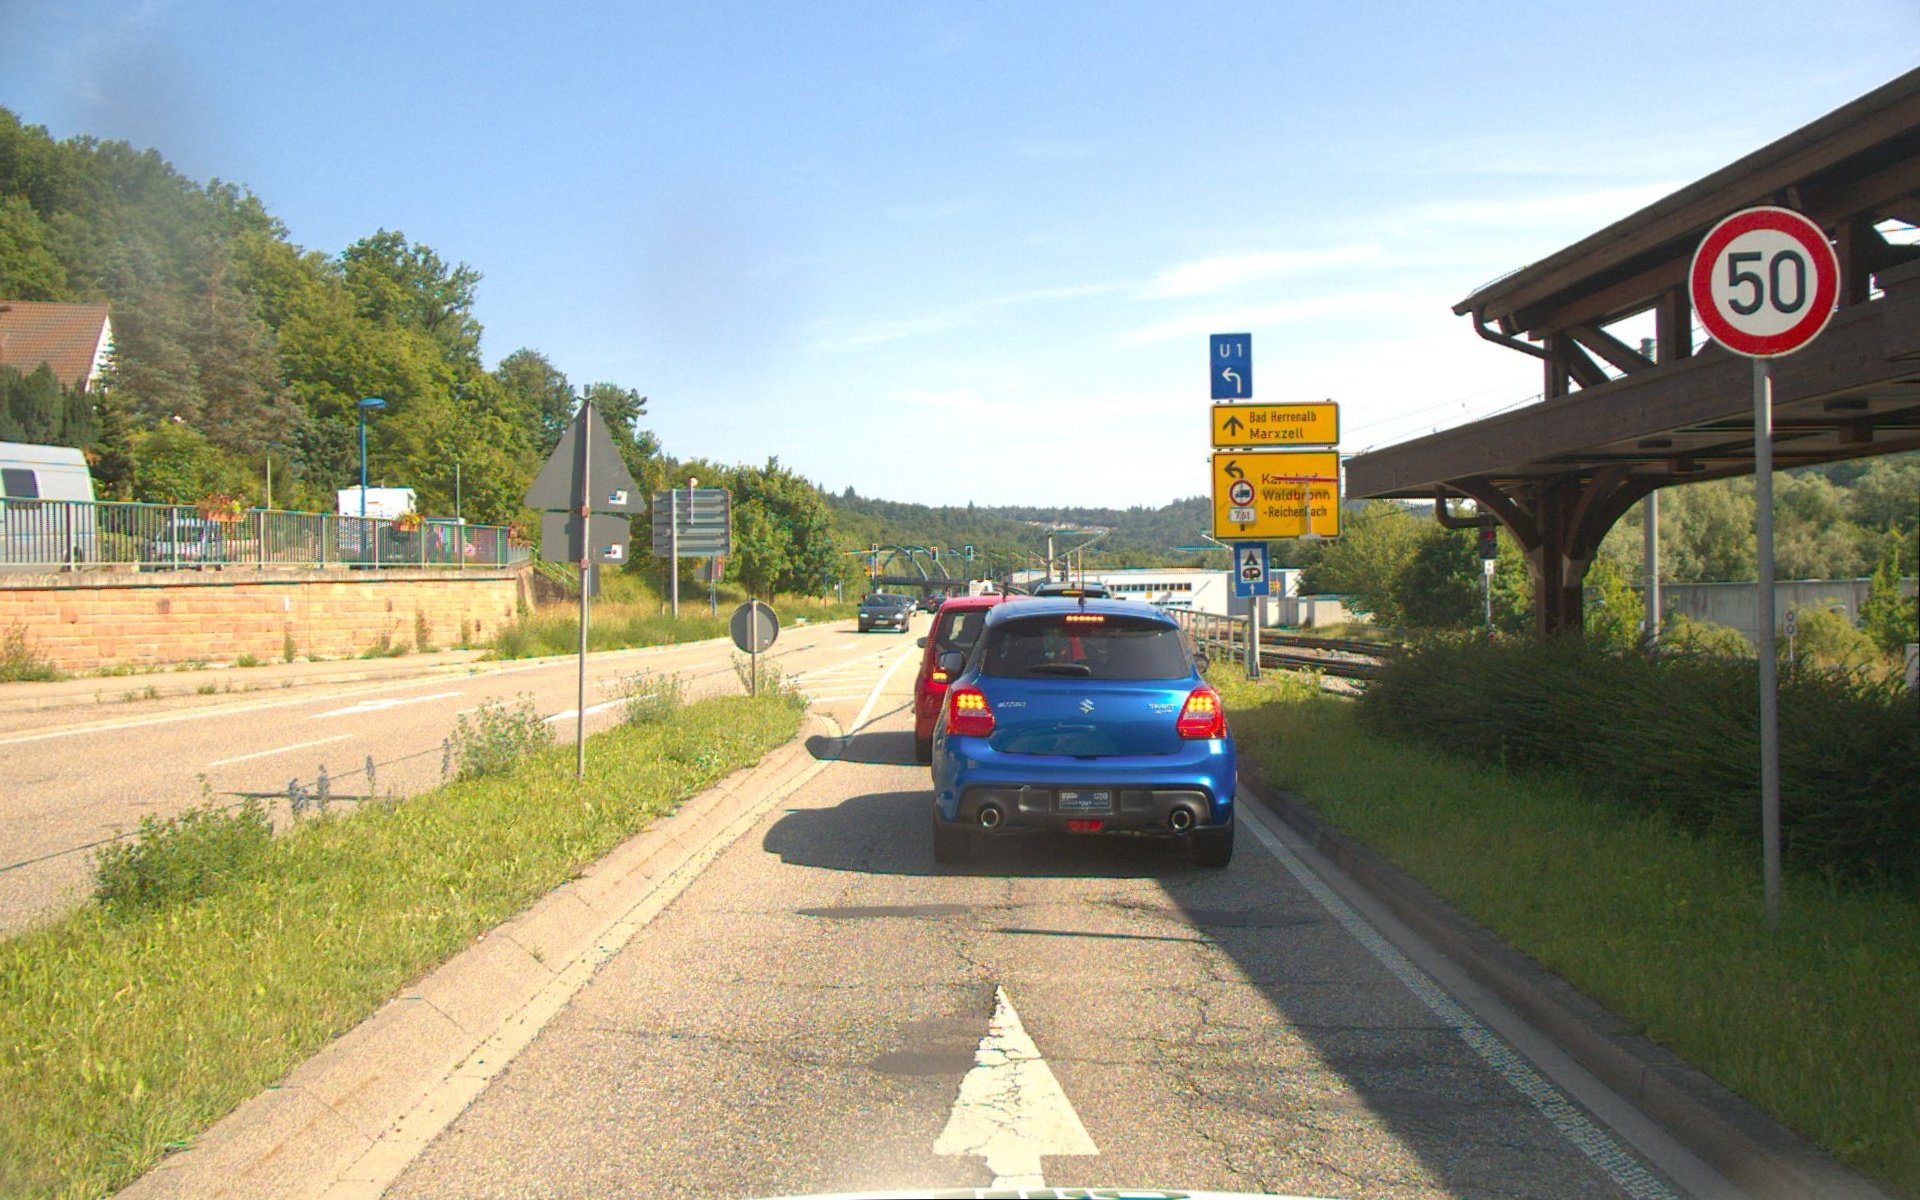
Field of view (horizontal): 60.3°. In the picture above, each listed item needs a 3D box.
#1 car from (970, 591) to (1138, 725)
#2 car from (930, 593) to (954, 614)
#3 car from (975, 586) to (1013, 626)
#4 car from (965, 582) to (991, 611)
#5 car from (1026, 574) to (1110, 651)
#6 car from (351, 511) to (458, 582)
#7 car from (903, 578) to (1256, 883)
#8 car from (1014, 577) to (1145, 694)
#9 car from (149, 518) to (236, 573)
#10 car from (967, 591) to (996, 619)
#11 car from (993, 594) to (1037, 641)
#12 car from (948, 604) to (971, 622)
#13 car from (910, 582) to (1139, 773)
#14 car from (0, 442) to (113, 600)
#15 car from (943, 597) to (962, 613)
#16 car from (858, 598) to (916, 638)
[{"bbox_3d":[1.184,0.670,21.591,1.952,1.558,4.603,0,0,2],"label":"car"},{"bbox_3d":[-1.580,0.311,143.837,1.952,1.814,4.000,2,0,1],"label":"car"},{"bbox_3d":[1.854,0.315,90.683,1.952,2.048,4.001,2,1,1],"label":"car"},{"bbox_3d":[1.412,-0.284,131.858,1.952,2.181,4.720,2,0,1],"label":"car"},{"bbox_3d":[2.660,0.290,41.509,1.952,1.766,4.001,2,0,2],"label":"car"},{"bbox_3d":[-16.568,-1.584,49.585,1.982,1.953,4.726,2,1,-6],"label":"car"},{"bbox_3d":[0.627,0.677,10.657,1.830,1.575,4.000,1,0,0],"label":"car"},{"bbox_3d":[1.927,0.537,27.668,1.952,1.716,4.498,2,0,2],"label":"car"},{"bbox_3d":[-24.737,-1.727,53.450,1.863,1.658,3.984,0,0,-15],"label":"car"},{"bbox_3d":[1.530,0.318,117.143,1.952,1.848,4.001,2,1,1],"label":"car"},{"bbox_3d":[2.589,0.794,78.862,1.952,2.048,4.001,2,1,1],"label":"car"},{"bbox_3d":[-0.026,1.149,150.054,1.952,1.581,4.215,2,0,1],"label":"car"},{"bbox_3d":[0.634,0.678,16.328,1.952,1.599,4.001,1,0,2],"label":"car"},{"bbox_3d":[-16.240,-1.303,27.076,2.052,2.486,5.781,2,1,-4],"label":"car"},{"bbox_3d":[-0.768,0.528,176.394,1.953,1.619,4.000,2,0,0],"label":"car"},{"bbox_3d":[-2.820,0.669,64.897,1.754,1.496,4.718,1,0,3],"label":"car"}]
